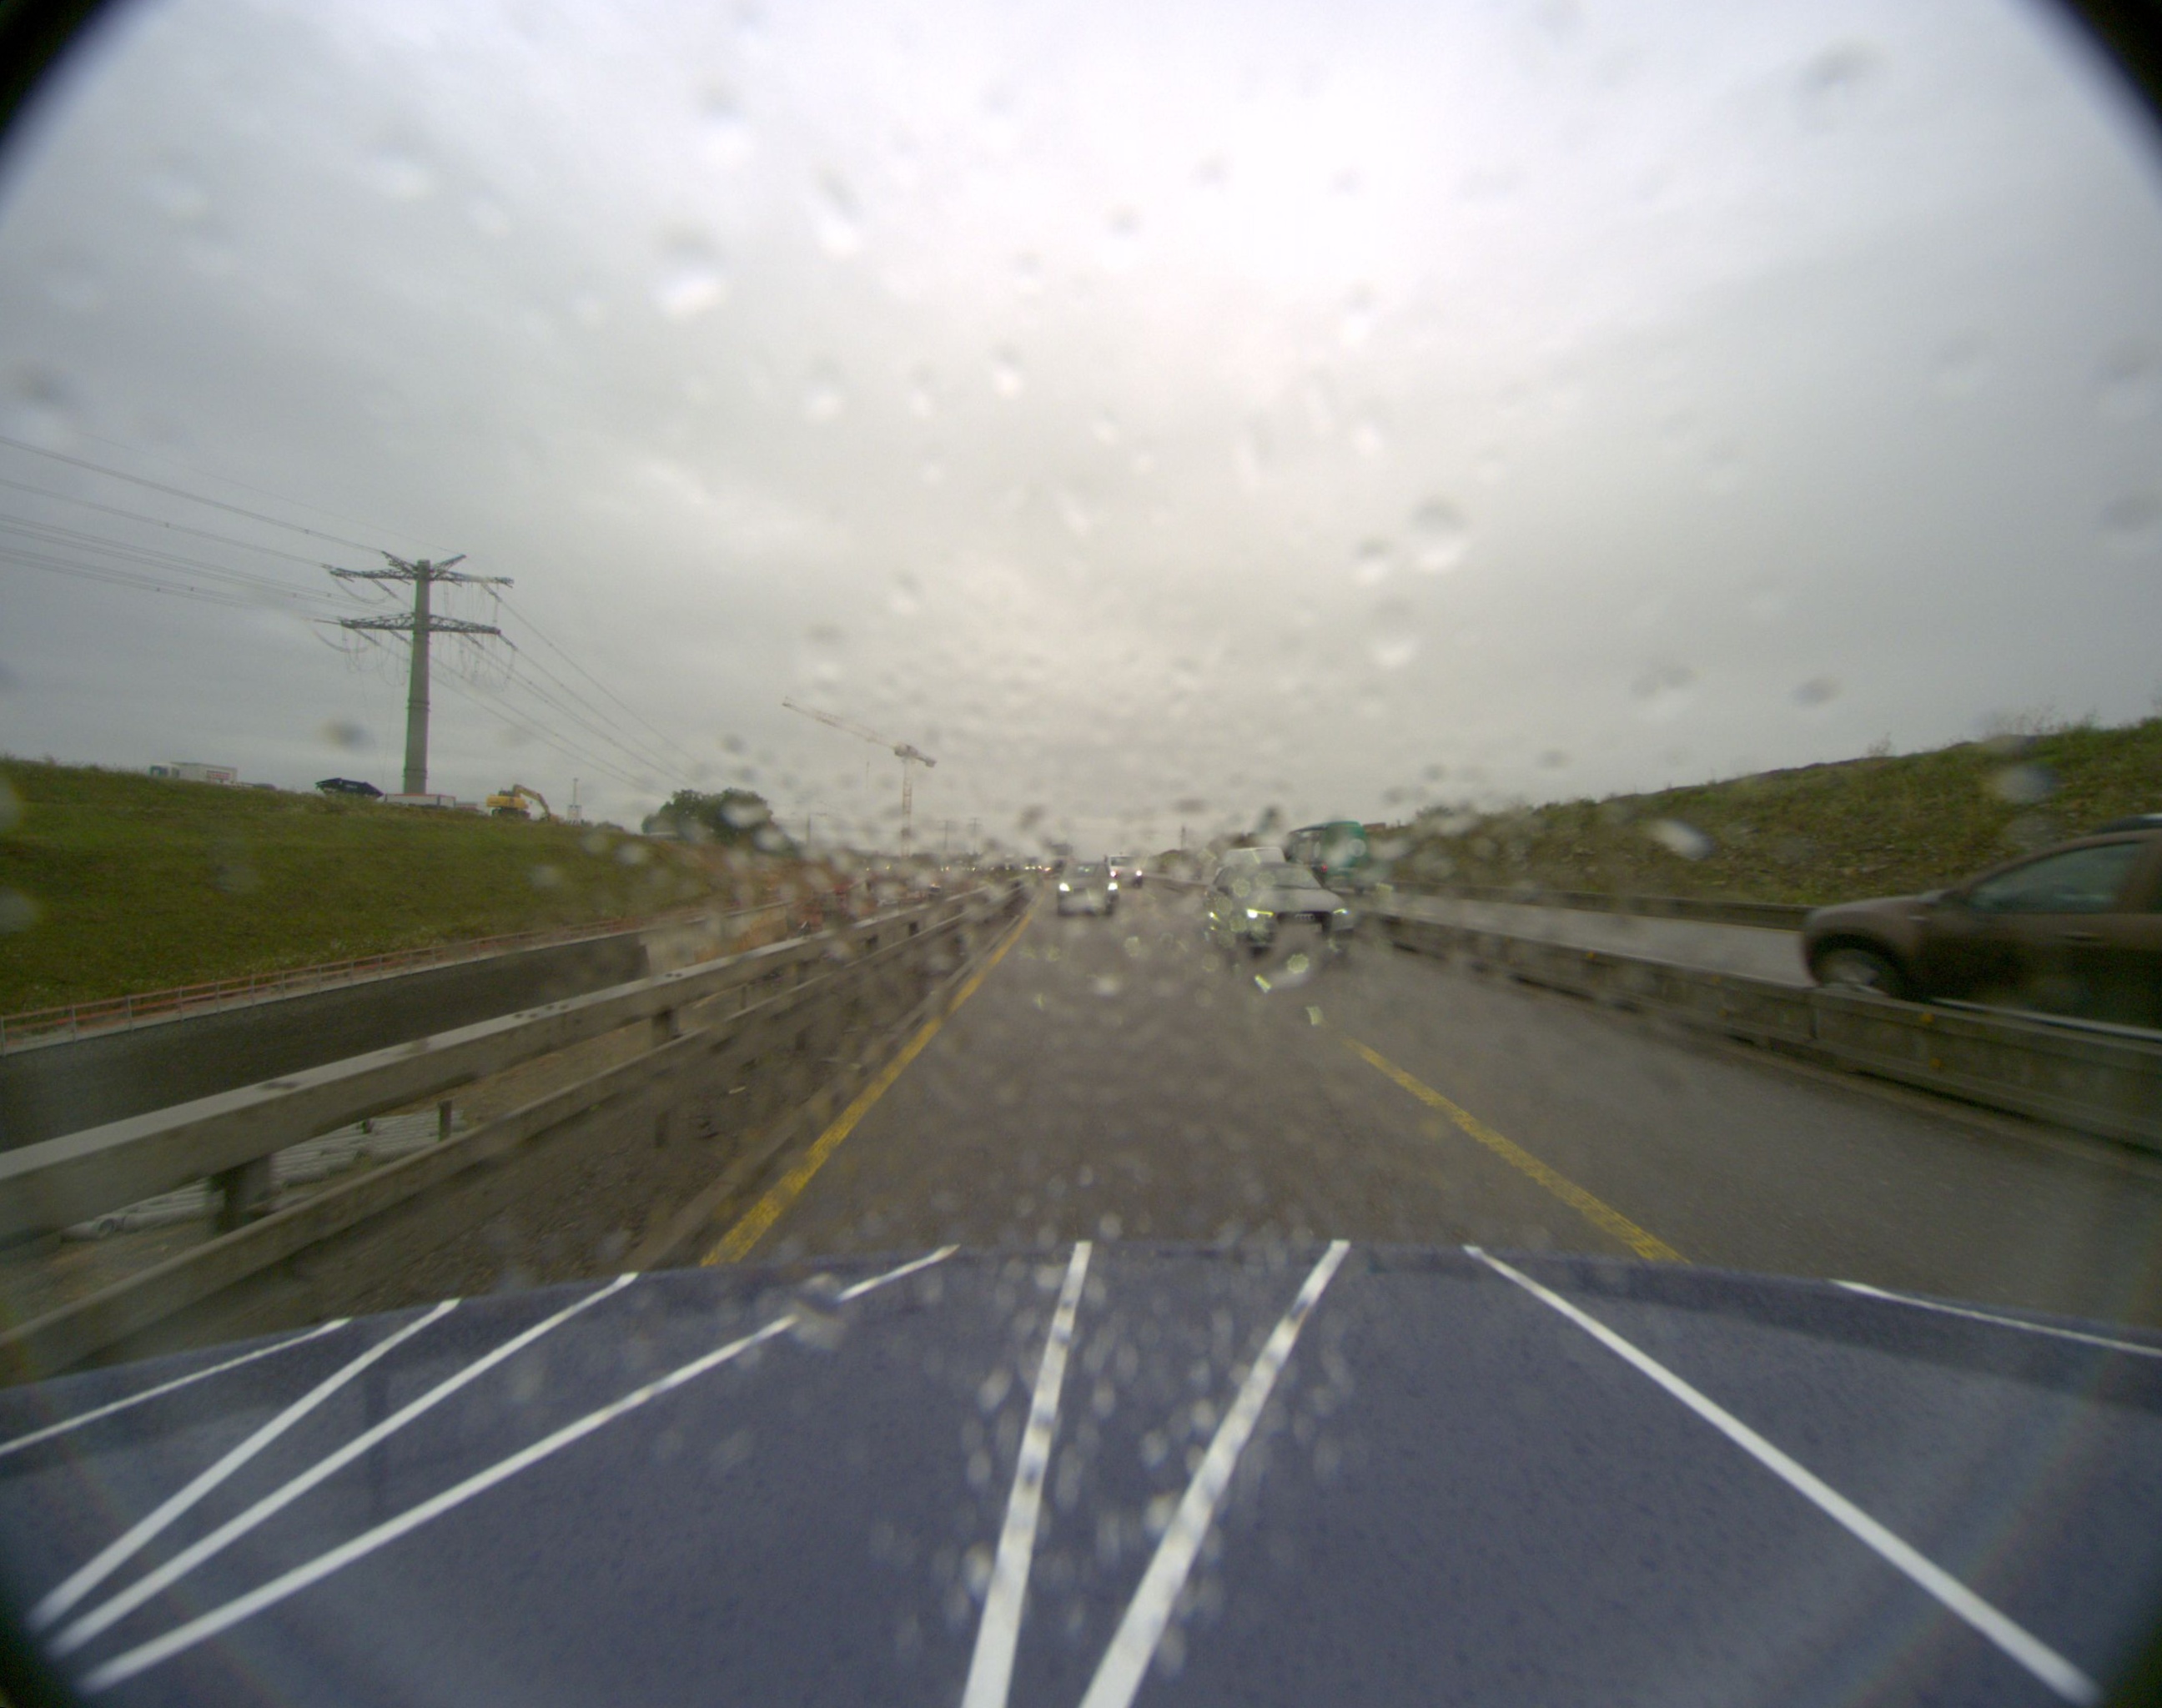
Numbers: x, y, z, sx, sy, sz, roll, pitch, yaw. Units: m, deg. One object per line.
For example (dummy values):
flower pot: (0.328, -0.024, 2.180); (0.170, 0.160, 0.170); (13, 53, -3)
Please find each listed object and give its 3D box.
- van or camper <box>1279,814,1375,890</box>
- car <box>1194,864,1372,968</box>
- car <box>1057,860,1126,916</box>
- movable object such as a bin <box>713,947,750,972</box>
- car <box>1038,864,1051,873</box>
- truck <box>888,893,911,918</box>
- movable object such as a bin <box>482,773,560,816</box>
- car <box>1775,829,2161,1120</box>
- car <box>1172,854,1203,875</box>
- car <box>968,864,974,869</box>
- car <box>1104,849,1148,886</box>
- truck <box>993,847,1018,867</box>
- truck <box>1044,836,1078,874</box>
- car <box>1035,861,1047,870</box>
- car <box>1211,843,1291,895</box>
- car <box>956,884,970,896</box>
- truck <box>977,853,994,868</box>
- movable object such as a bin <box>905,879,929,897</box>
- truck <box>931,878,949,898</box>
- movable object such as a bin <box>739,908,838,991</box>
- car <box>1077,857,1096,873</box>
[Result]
van or camper: (10.134, -0.065, 31.858); (2.105, 2.801, 5.943); (-3, 0, 1)
car: (3.206, 0.913, 12.941); (1.805, 1.375, 4.087); (-1, 0, -2)
car: (0.251, 0.946, 23.094); (1.874, 1.481, 4.260); (-2, 0, -1)
movable object such as a bin: (-36.147, 10.847, 78.585); (2.524, 1.900, 3.254); (-4, 1, -9)
car: (-6.529, 2.566, 135.956); (1.791, 1.418, 3.996); (-3, 0, -10)
truck: (-30.803, 8.681, 129.152); (2.711, 3.591, 9.067); (0, 1, -6)
movable object such as a bin: (-63.832, -6.704, 86.881); (3.107, 4.181, 8.177); (-1, 0, -2)
car: (6.900, 0.656, 4.539); (1.765, 1.588, 3.999); (-3, 0, -1)
car: (8.235, 0.803, 59.007); (1.718, 1.527, 4.046); (-3, 0, 0)
car: (-34.194, 3.984, 236.577); (1.791, 1.418, 3.996); (-3, 0, -10)
car: (2.509, 0.713, 43.712); (2.069, 1.933, 5.155); (-1, 0, -1)
truck: (-17.175, 0.709, 171.436); (4.321, 4.319, 13.396); (-3, 0, -10)
truck: (-2.089, 0.069, 74.479); (2.857, 3.462, 8.640); (-2, 0, -4)
car: (-8.123, 2.279, 153.625); (1.791, 1.646, 3.996); (-3, 0, -12)
car: (6.820, 0.558, 31.074); (2.006, 1.876, 5.274); (-3, 0, 0)
car: (-25.879, 7.943, 166.631); (1.999, 2.002, 3.999); (-15, 0, -2)
truck: (-27.223, 1.861, 216.497); (3.549, 3.870, 8.325); (-3, 0, -14)
movable object such as a bin: (-35.064, 7.258, 162.760); (3.517, 3.405, 6.650); (-2, 1, -1)
truck: (-31.418, 7.516, 169.450); (3.363, 3.521, 8.899); (-1, 2, -7)
movable object such as a bin: (-27.354, 8.753, 72.147); (4.907, 5.639, 12.081); (-3, 3, -3)
car: (0.606, 1.222, 89.061); (1.790, 1.744, 3.998); (-3, 0, -6)
